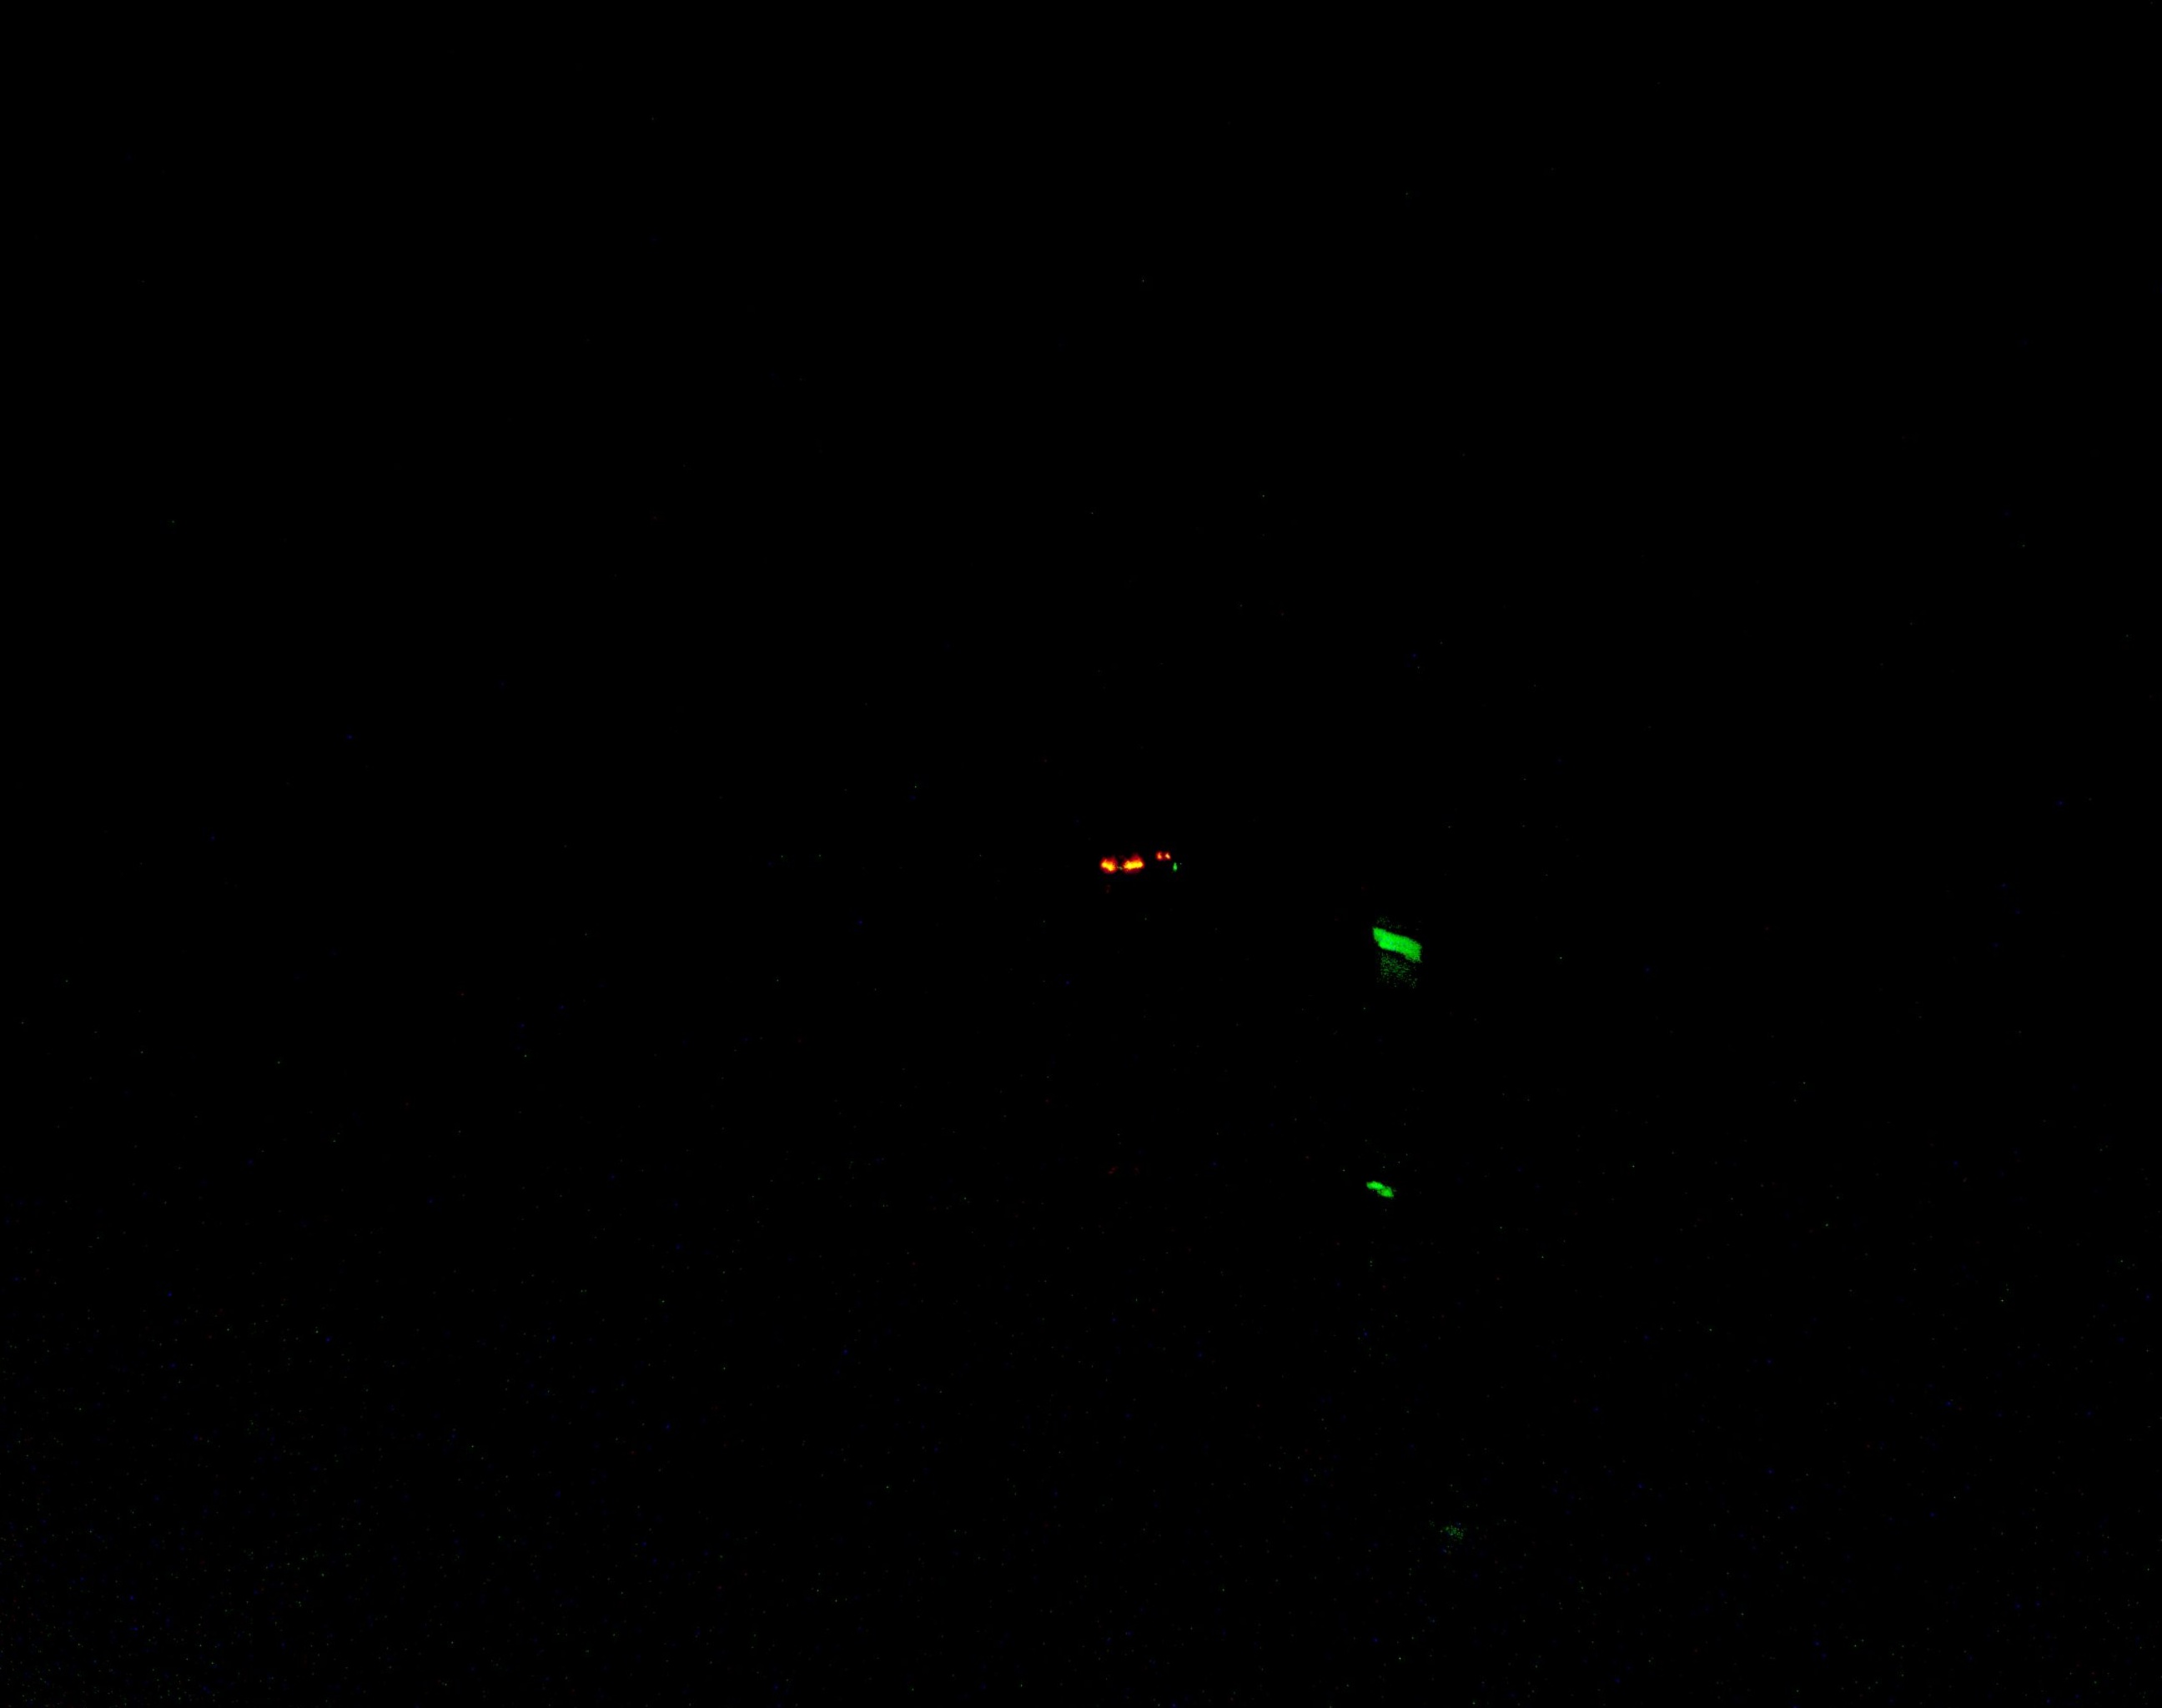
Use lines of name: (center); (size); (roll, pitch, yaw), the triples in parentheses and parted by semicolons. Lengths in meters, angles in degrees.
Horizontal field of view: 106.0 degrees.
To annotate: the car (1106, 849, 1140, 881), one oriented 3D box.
car: (2.410, 0.612, 47.330); (1.835, 1.740, 4.003); (-1, 0, 2)
